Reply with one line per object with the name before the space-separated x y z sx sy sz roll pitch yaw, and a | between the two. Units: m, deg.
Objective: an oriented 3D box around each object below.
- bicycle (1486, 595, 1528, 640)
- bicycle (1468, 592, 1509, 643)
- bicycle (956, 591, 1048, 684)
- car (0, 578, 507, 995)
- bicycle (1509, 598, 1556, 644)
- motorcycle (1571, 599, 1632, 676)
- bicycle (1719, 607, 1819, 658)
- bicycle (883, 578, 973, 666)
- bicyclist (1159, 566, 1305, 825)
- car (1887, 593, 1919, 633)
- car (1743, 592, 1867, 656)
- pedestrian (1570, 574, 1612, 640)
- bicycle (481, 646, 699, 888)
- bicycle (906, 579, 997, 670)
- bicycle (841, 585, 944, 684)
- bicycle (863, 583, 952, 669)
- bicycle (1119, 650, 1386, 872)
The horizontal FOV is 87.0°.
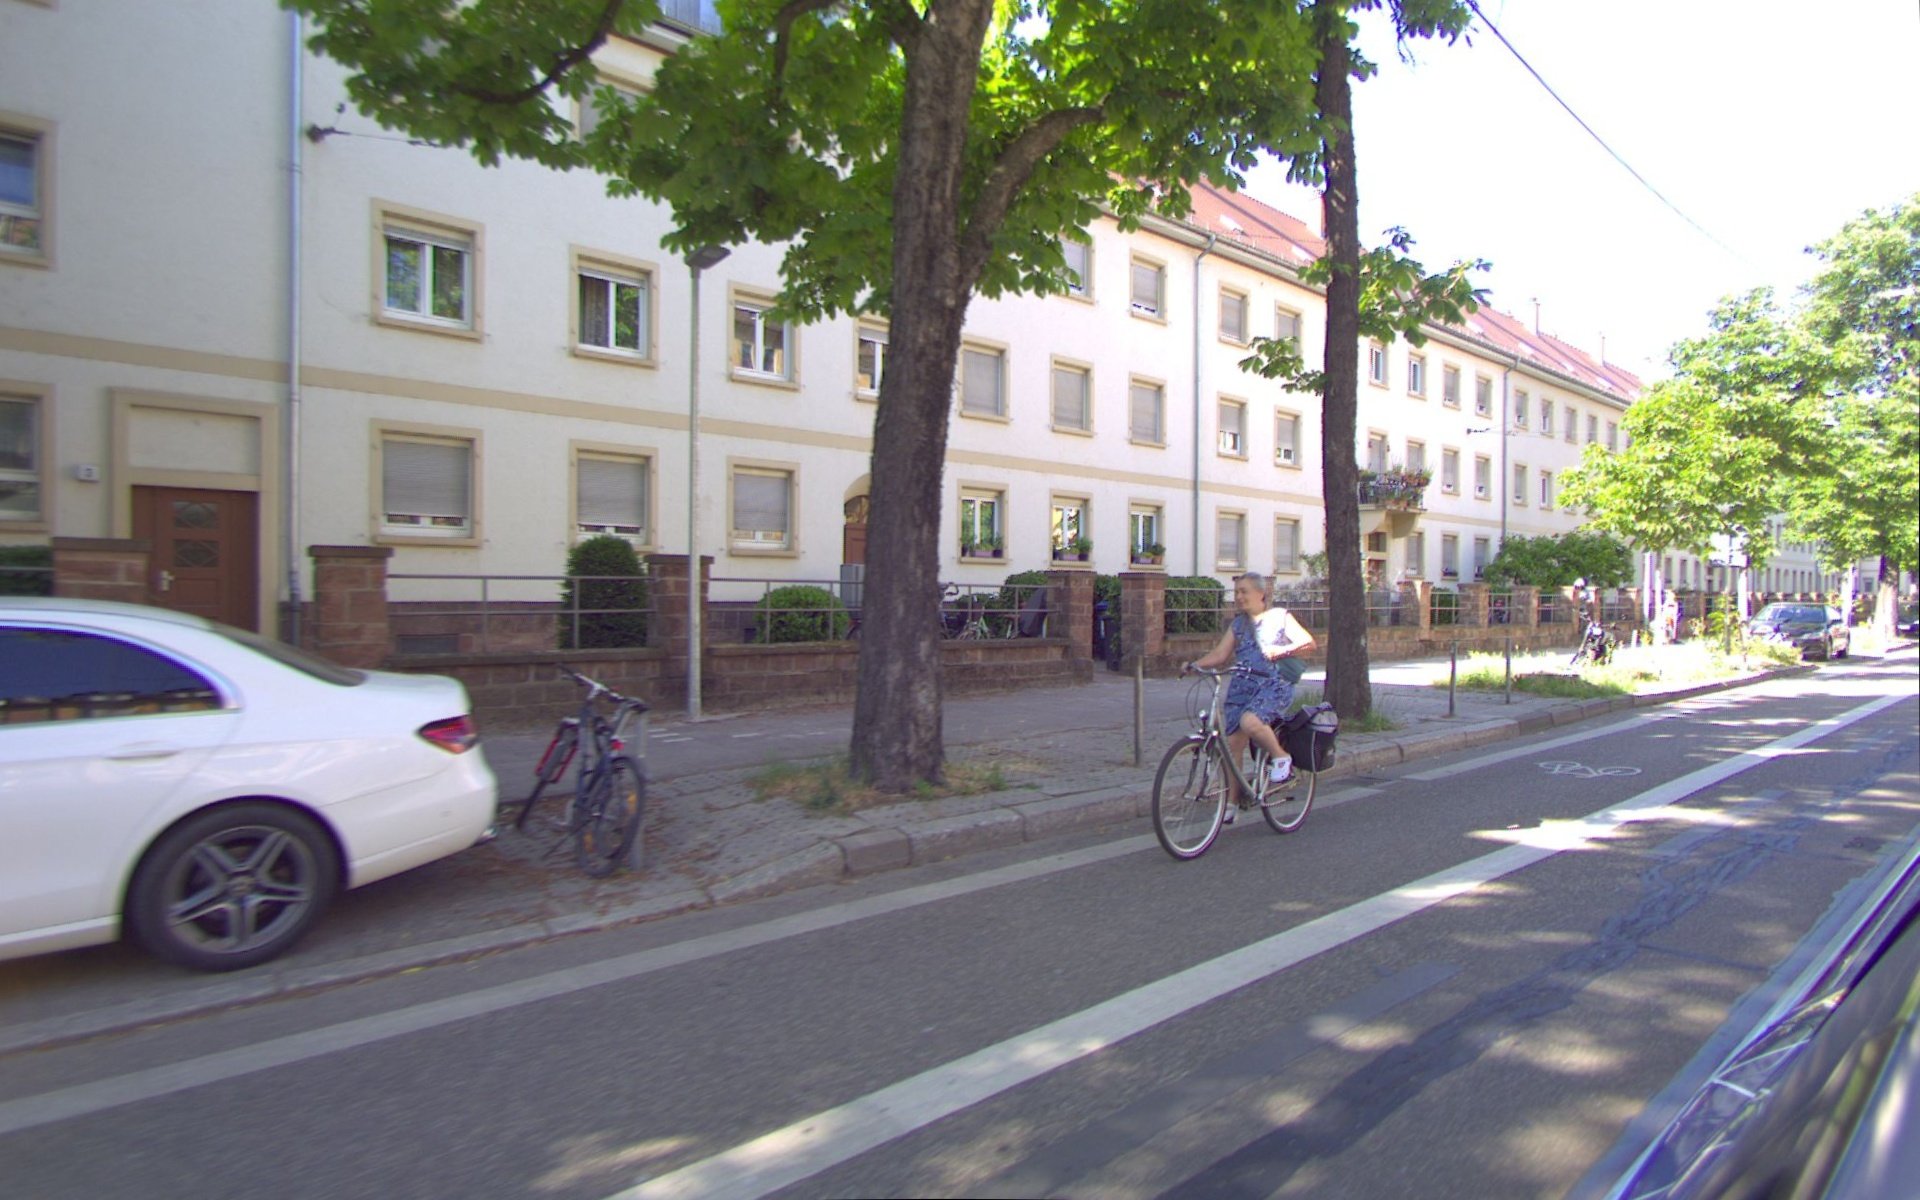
bicycle | 14.624 0.464 27.060 1.546 1.167 0.441 0 -1 -40
bicycle | 13.546 0.447 25.925 1.398 1.277 0.349 0 -1 -36
bicycle | 0.605 0.499 14.125 1.349 1.238 0.435 0 -1 -40
car | -4.355 0.647 3.778 4.587 1.454 1.630 0 1 -44
bicycle | 15.067 0.535 26.629 1.883 1.167 0.449 0 0 -40
motorcycle | 10.896 0.607 17.163 0.495 1.205 1.833 6 4 42
bicycle | 19.536 0.767 24.454 0.611 1.080 1.794 0 2 -44
bicycle | -0.455 0.304 14.842 1.349 1.238 0.435 0 -1 -40
bicyclist | 1.675 0.549 6.254 0.605 1.487 0.636 1 -1 -40
car | 37.495 0.502 39.324 4.173 1.492 1.723 0 2 -42
car | 21.731 0.565 25.985 3.973 1.482 1.791 0 1 -40
pedestrian | 17.009 0.197 27.285 0.568 1.746 0.766 0 -1 -11
bicycle | -2.219 0.871 5.916 0.609 1.032 1.796 0 3 -40
bicycle | -0.109 0.335 14.470 1.349 1.238 0.435 0 -1 -40
bicycle | -0.866 0.426 13.219 1.349 1.238 0.435 0 -1 -40
bicycle | -0.773 0.373 15.225 1.349 1.238 0.435 0 -1 -40
bicycle | 1.889 0.918 6.383 1.883 1.127 0.693 0 -1 -40
